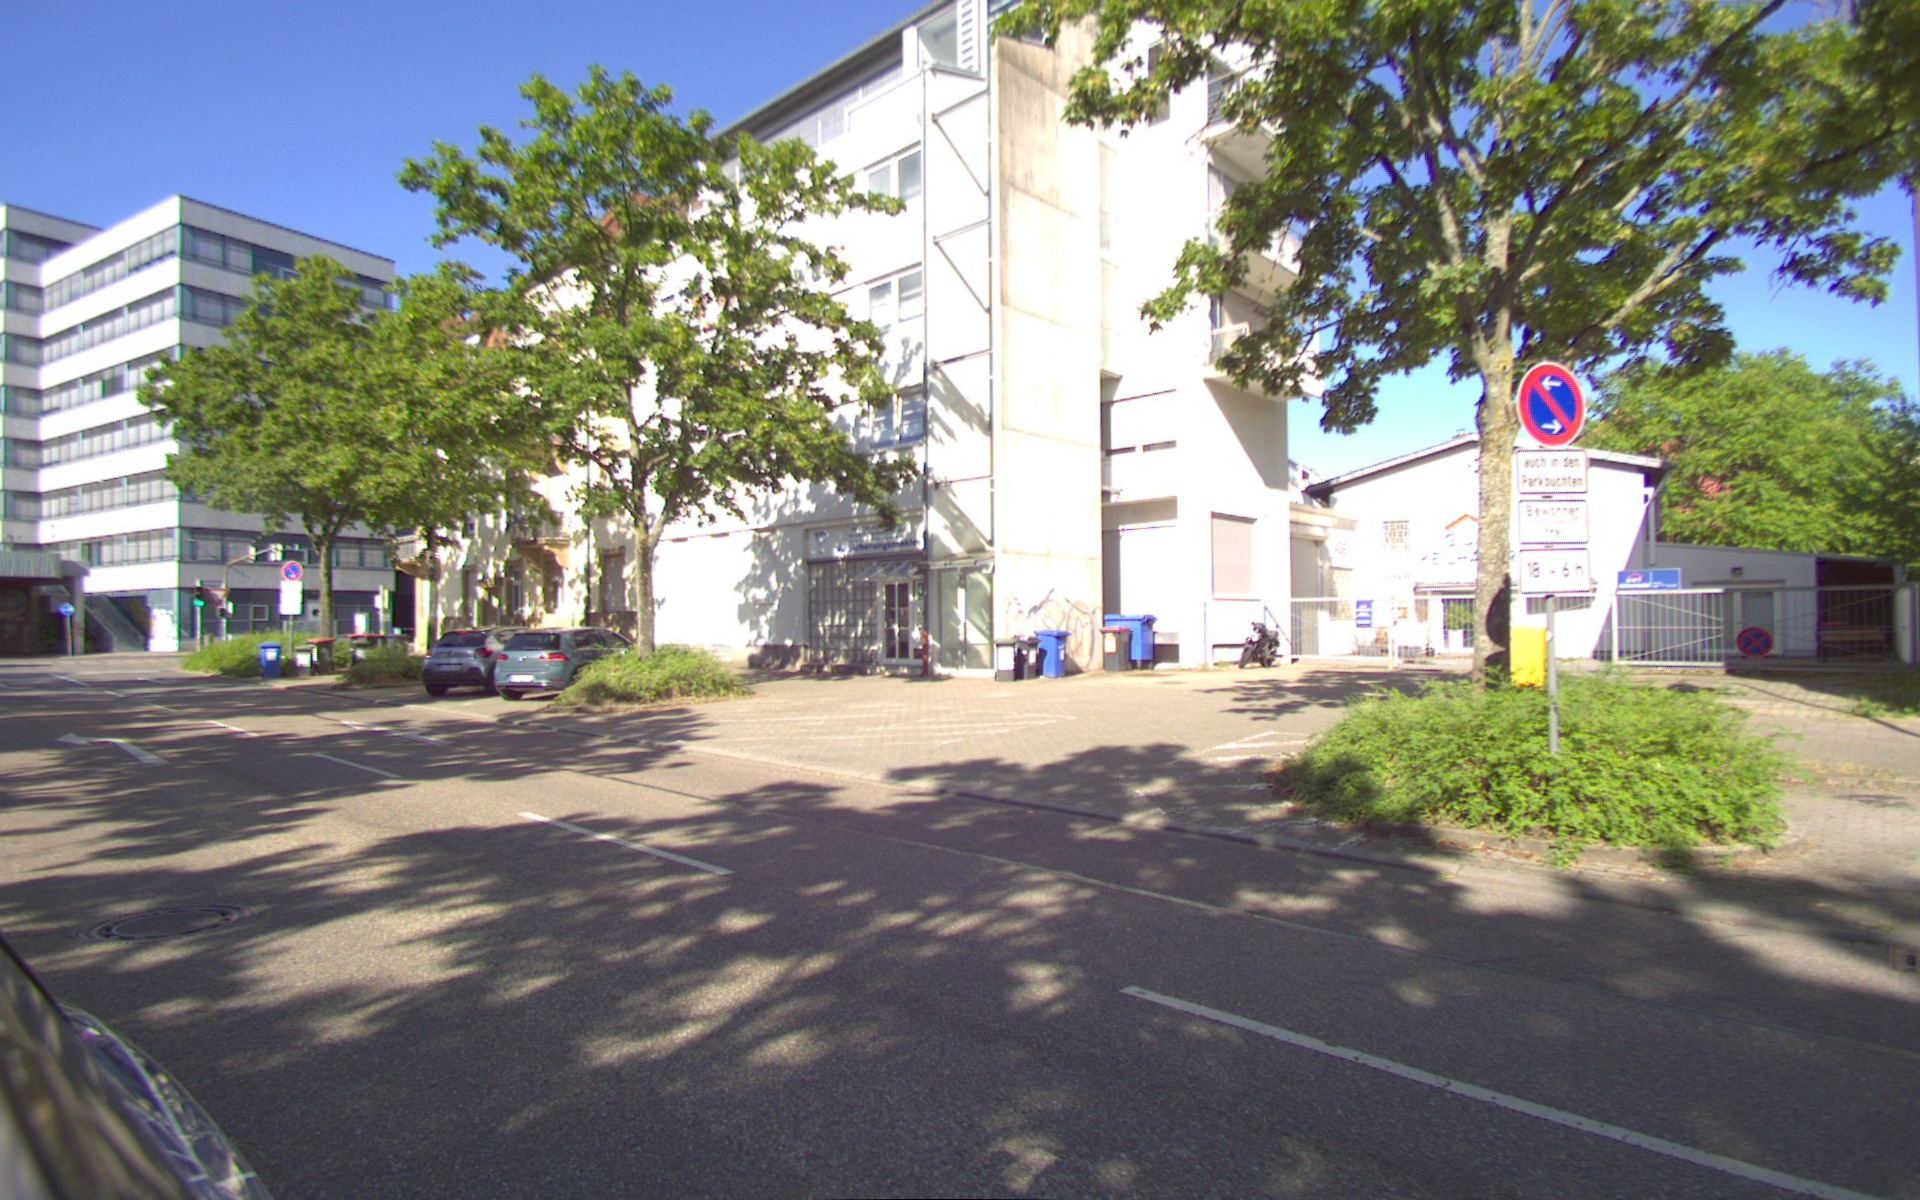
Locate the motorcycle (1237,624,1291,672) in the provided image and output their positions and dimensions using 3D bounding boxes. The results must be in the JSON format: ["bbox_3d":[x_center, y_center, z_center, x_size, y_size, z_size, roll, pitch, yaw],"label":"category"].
[{"bbox_3d":[7.535,1.175,25.001,0.526,1.143,1.892,-2,-2,41],"label":"motorcycle"}]

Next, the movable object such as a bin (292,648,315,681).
[{"bbox_3d":[-19.672,1.927,30.316,0.469,0.967,0.544,-1,0,-22],"label":"movable object such as a bin"}]

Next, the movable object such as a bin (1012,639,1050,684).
[{"bbox_3d":[1.544,1.324,21.908,0.574,0.935,0.614,-2,-2,38],"label":"movable object such as a bin"}]

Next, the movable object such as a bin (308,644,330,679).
[{"bbox_3d":[-19.806,1.894,31.257,0.469,1.048,0.544,-1,0,-22],"label":"movable object such as a bin"}]

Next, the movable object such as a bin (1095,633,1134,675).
[{"bbox_3d":[3.643,1.263,23.875,0.689,0.980,0.614,-2,-2,39],"label":"movable object such as a bin"}]

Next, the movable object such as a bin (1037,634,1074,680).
[{"bbox_3d":[2.120,1.253,22.399,0.574,0.980,0.614,-2,-2,38],"label":"movable object such as a bin"}]

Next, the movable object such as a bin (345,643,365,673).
[{"bbox_3d":[-19.529,1.871,32.673,0.469,0.951,0.544,1,-2,-22],"label":"movable object such as a bin"}]

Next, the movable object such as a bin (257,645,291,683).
[{"bbox_3d":[-20.339,1.892,30.012,0.664,1.082,0.805,1,-2,-22],"label":"movable object such as a bin"}]

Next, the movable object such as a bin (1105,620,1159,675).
[{"bbox_3d":[4.179,1.148,24.587,1.119,1.289,0.614,-2,-2,39],"label":"movable object such as a bin"}]

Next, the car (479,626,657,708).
[{"bbox_3d":[-8.179,1.346,21.527,1.790,1.475,3.989,-1,0,9],"label":"car"}]

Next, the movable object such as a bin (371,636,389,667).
[{"bbox_3d":[-20.345,1.806,35.519,0.469,1.070,0.552,1,-2,-22],"label":"movable object such as a bin"}]

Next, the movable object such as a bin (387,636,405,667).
[{"bbox_3d":[-19.896,1.811,35.697,0.469,1.070,0.552,1,-2,-22],"label":"movable object such as a bin"}]

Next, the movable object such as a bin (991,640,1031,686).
[{"bbox_3d":[1.077,1.312,21.332,0.574,0.935,0.614,-2,-2,38],"label":"movable object such as a bin"}]

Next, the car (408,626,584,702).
[{"bbox_3d":[-10.519,1.411,23.298,1.790,1.475,3.989,-1,0,9],"label":"car"}]
